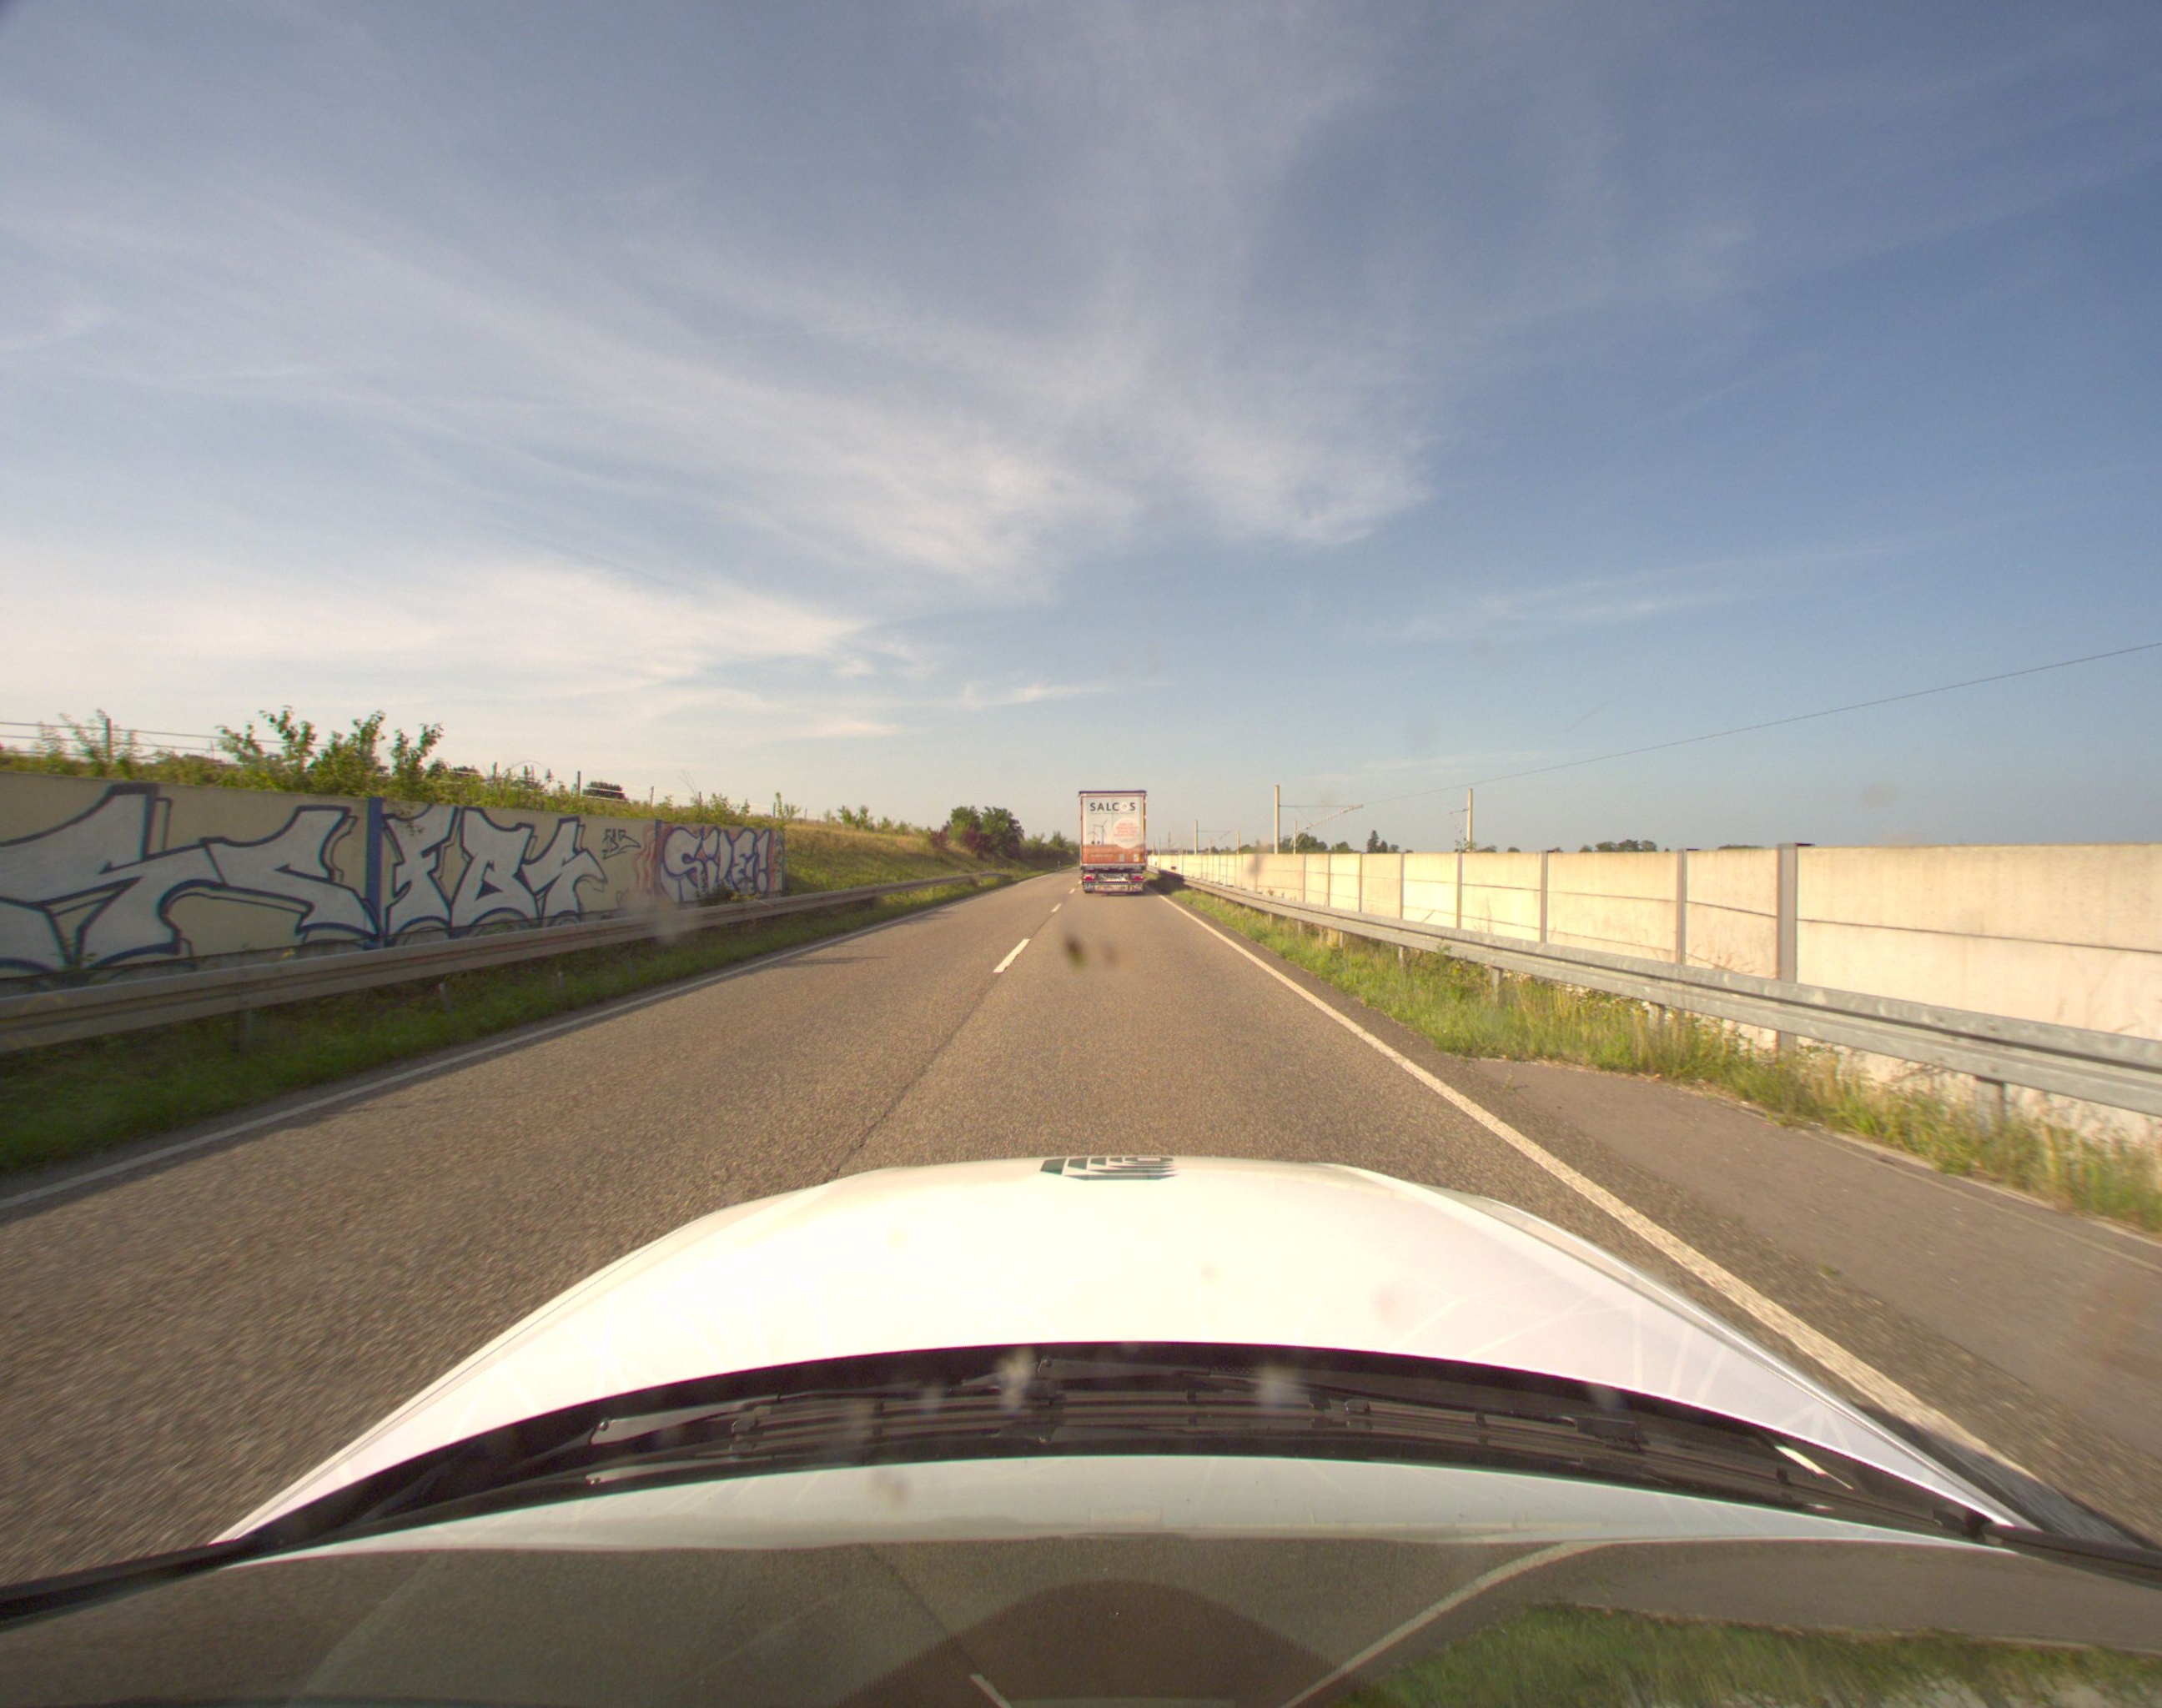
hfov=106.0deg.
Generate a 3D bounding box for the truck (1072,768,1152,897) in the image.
[{"bbox_3d":[1.345,-0.852,37.136,3.022,4.920,11.688,-1,0,2],"label":"truck"}]
